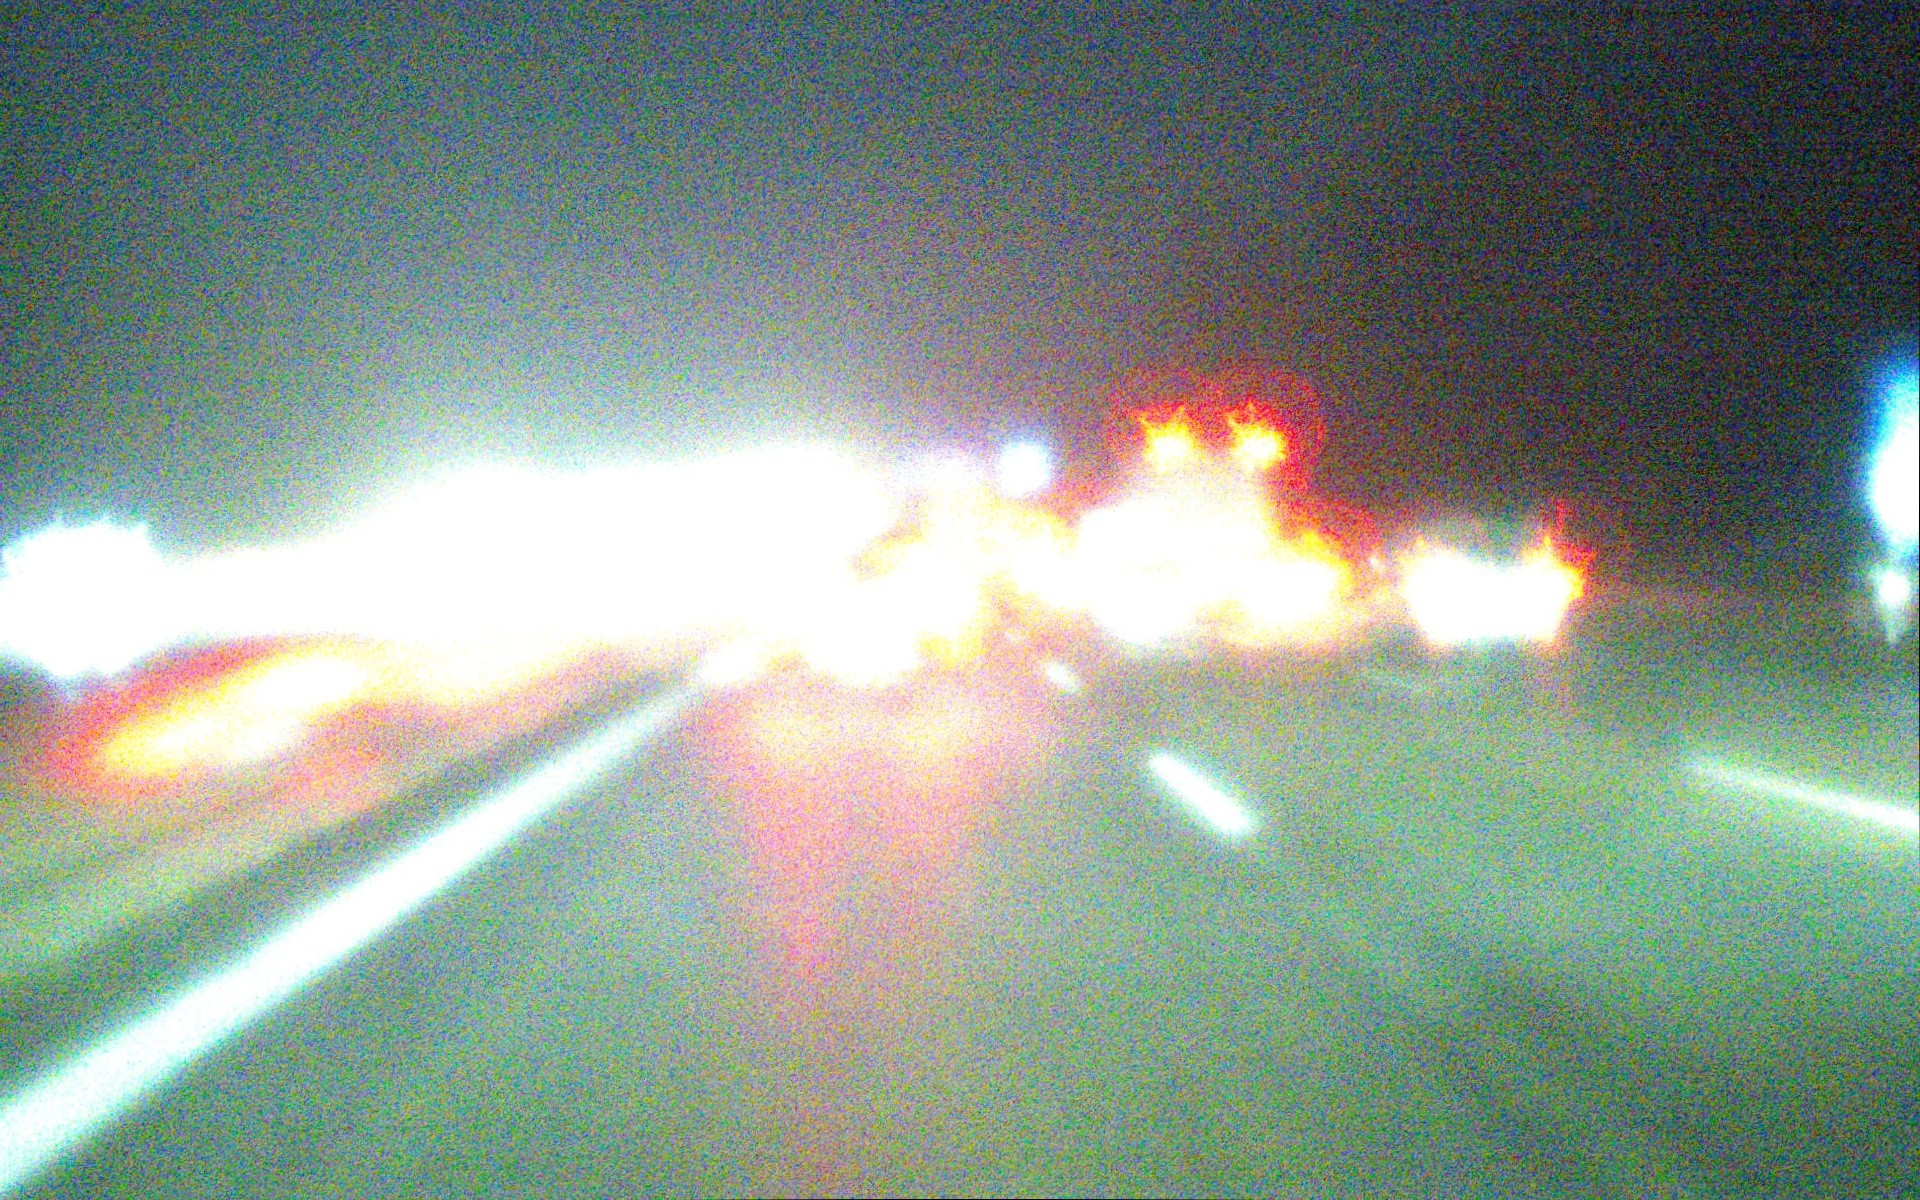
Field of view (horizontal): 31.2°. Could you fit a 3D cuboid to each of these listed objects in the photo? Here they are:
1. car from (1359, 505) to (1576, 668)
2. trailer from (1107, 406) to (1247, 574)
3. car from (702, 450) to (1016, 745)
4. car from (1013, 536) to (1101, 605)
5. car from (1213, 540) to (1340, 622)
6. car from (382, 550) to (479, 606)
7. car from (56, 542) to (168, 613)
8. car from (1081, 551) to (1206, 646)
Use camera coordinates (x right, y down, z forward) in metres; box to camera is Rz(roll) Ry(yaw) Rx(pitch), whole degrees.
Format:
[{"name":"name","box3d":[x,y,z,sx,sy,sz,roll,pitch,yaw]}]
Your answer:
[{"name":"car","box3d":[6.667,-0.236,45.755,2.046,1.967,5.407,-2,2,0]},{"name":"trailer","box3d":[5.740,-2.883,92.710,2.803,4.198,12.098,0,1,-1]},{"name":"car","box3d":[-1.007,-0.097,33.623,2.709,2.525,5.832,-2,2,-2]},{"name":"car","box3d":[2.264,-0.714,81.301,1.884,1.583,4.000,0,1,-1]},{"name":"car","box3d":[6.214,-0.407,68.061,1.894,1.481,4.962,1,1,-2]},{"name":"car","box3d":[-14.644,-0.627,95.227,1.993,1.410,4.590,-2,1,-1]},{"name":"car","box3d":[-25.206,-0.695,102.337,1.993,1.941,5.387,-2,1,-1]},{"name":"car","box3d":[2.815,-0.051,53.260,1.612,1.407,3.792,0,1,-2]}]
